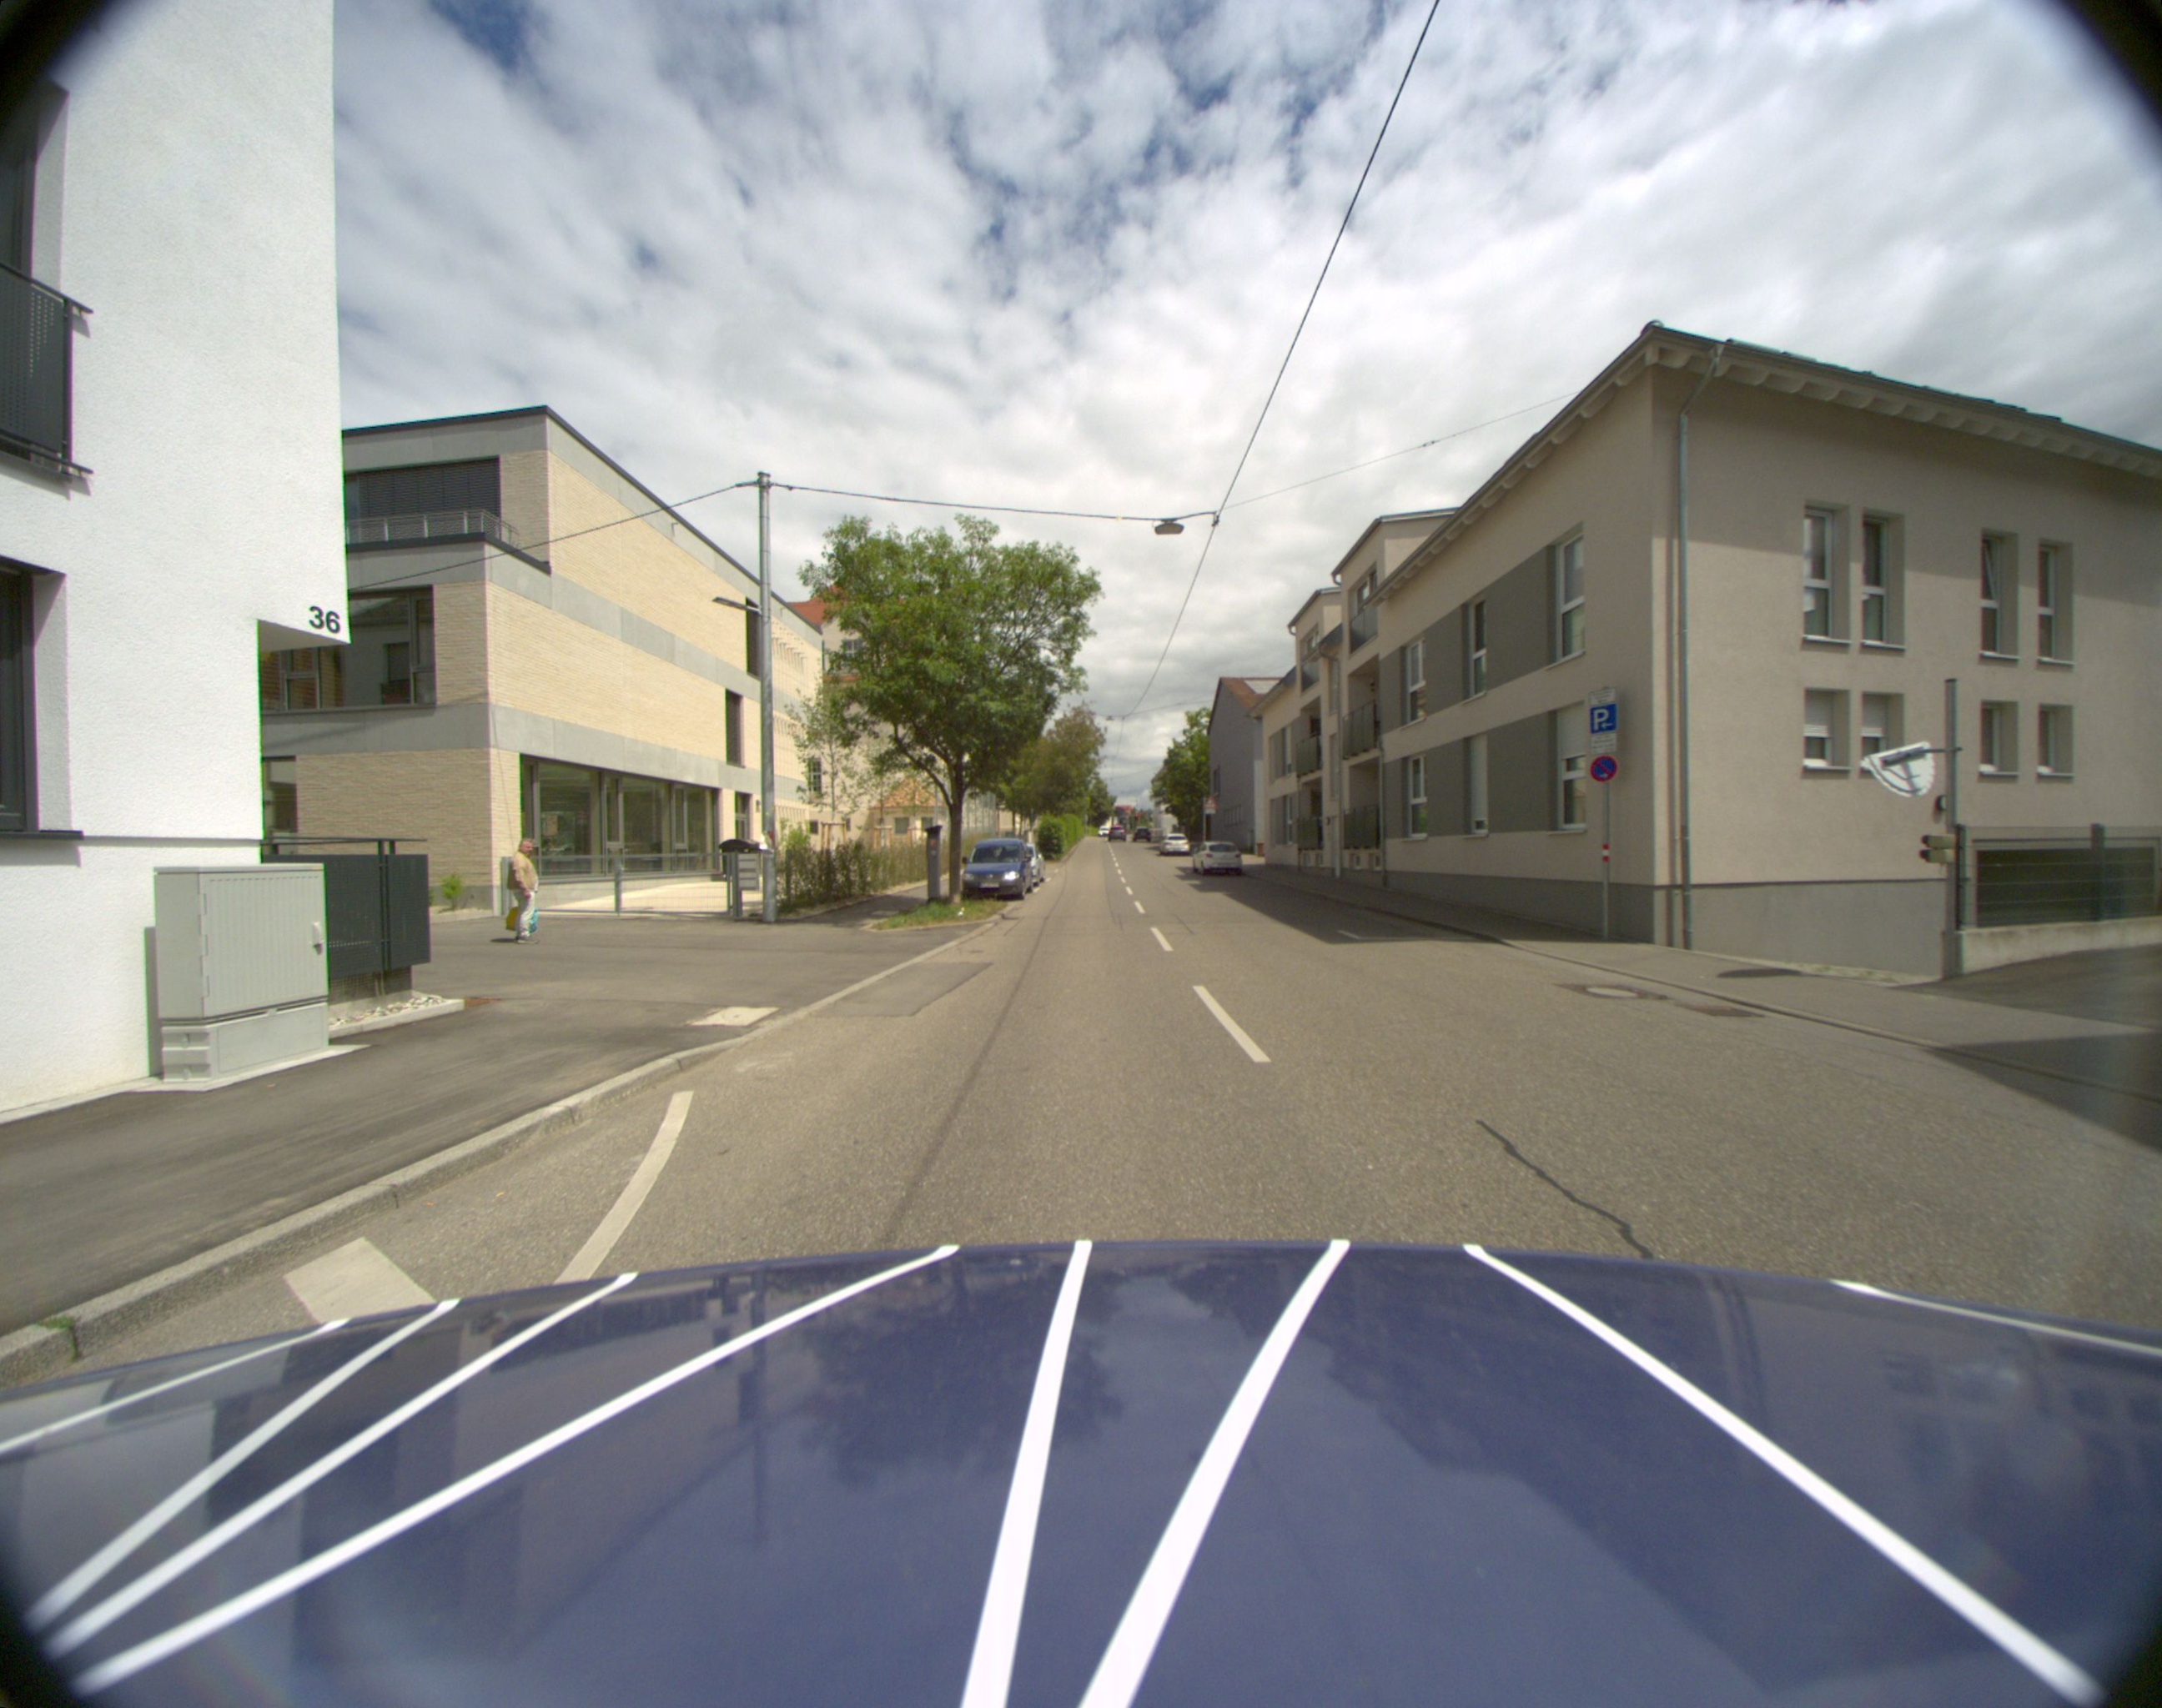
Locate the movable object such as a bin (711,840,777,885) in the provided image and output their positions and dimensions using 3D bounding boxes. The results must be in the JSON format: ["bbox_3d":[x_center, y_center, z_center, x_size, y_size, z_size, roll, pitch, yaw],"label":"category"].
[{"bbox_3d":[-11.439,0.262,25.881,1.351,1.439,1.806,-2,2,2],"label":"movable object such as a bin"}]

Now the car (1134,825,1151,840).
[{"bbox_3d":[6.789,-2.420,84.266,1.672,1.545,3.964,0,3,1],"label":"car"}]

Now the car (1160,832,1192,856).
[{"bbox_3d":[6.322,-0.730,51.121,1.737,1.480,4.065,0,3,1],"label":"car"}]

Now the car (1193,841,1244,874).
[{"bbox_3d":[5.941,0.119,33.204,1.665,1.322,3.473,0,2,1],"label":"car"}]

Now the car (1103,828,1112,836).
[{"bbox_3d":[4.399,-3.591,126.197,1.298,1.148,2.983,-1,0,1],"label":"car"}]

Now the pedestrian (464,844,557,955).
[{"bbox_3d":[-9.120,0.699,12.172,0.775,1.694,0.829,-2,2,0],"label":"pedestrian"}]

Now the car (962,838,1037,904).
[{"bbox_3d":[-2.354,0.432,22.834,1.698,1.733,4.158,0,2,1],"label":"car"}]

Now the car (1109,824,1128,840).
[{"bbox_3d":[4.135,-2.434,84.651,1.946,1.709,4.596,0,0,0],"label":"car"}]

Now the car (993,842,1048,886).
[{"bbox_3d":[-2.216,0.345,28.518,1.677,1.510,3.670,0,0,1],"label":"car"}]
